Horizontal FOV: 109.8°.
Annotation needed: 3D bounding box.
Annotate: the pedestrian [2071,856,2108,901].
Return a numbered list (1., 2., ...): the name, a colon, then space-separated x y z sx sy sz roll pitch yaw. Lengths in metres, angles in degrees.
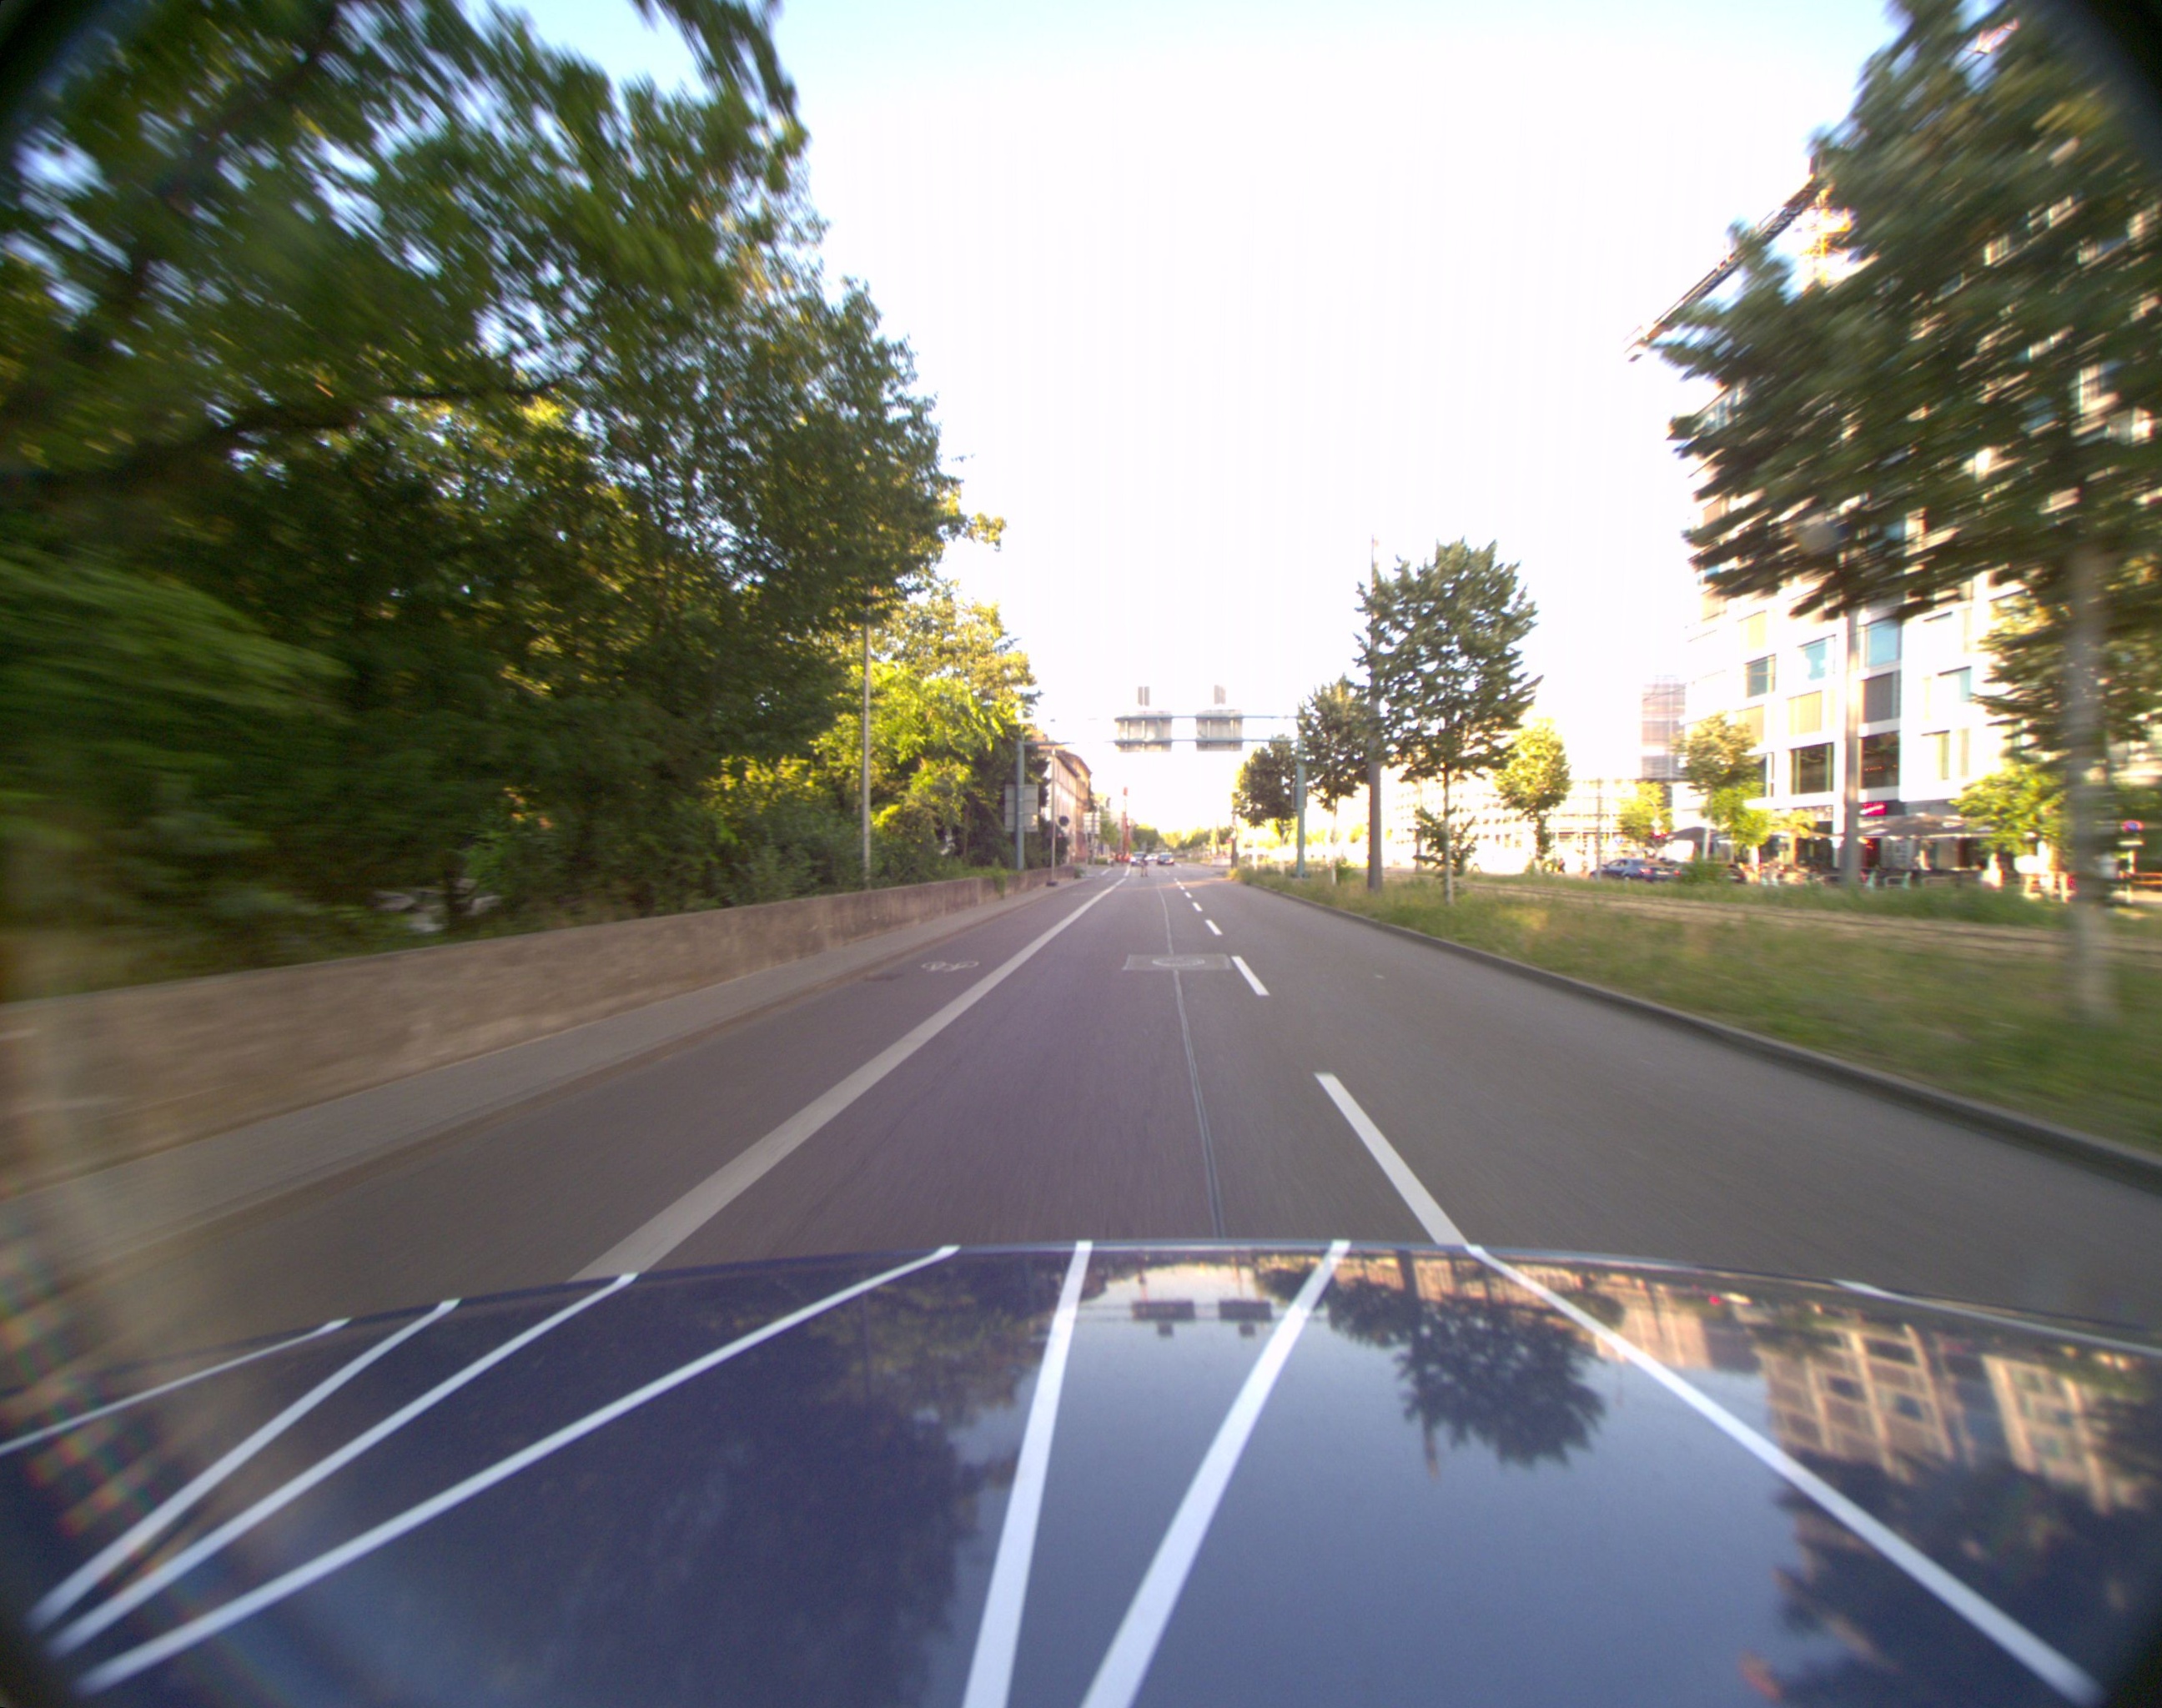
1. pedestrian: 36.052 0.862 27.162 0.498 1.590 0.604 -2 1 7

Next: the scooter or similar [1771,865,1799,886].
1. scooter or similar: 34.799 1.056 37.561 1.008 1.028 0.291 0 2 6

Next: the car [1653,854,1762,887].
1. car: 29.494 0.743 35.954 1.889 1.431 4.225 0 0 5

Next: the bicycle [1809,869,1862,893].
1. bicycle: 34.474 1.245 34.720 1.913 1.053 0.443 -1 1 2

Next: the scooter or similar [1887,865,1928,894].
1. scooter or similar: 34.051 1.045 31.313 1.184 1.157 0.338 1 1 6

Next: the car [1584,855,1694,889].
1. car: 26.557 0.816 36.425 2.019 1.432 4.803 2 0 5

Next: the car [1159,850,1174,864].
1. car: 10.319 0.352 91.615 1.701 1.588 4.262 -1 0 7

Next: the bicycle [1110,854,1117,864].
1. bicycle: 3.805 0.612 89.833 0.528 1.045 2.049 3 2 9

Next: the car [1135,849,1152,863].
1. car: 7.539 0.257 91.778 1.832 1.588 4.262 -1 0 7

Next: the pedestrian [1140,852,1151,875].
1. pedestrian: 4.392 0.644 51.759 0.579 1.495 0.619 -1 0 13

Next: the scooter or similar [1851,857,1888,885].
1. scooter or similar: 34.767 0.734 33.509 1.184 1.210 0.338 0 1 6

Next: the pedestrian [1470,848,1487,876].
1. pedestrian: 26.452 0.550 50.565 0.708 1.825 0.763 -1 1 4

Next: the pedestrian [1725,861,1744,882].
1. pedestrian: 44.241 1.188 51.454 0.606 1.406 0.772 0 1 -10

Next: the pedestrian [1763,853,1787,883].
1. pedestrian: 37.861 0.762 41.455 0.681 1.594 0.708 -2 1 -11

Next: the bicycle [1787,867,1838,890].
1. bicycle: 34.712 1.145 36.064 1.913 1.053 0.443 -1 1 2

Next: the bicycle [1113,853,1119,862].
1. bicycle: 4.260 0.422 92.473 0.517 1.045 2.045 1 1 8

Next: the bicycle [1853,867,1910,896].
1. bicycle: 34.456 1.172 32.730 1.913 1.192 0.443 -1 1 2

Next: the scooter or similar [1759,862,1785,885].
1. scooter or similar: 35.146 0.995 38.636 0.974 1.079 0.338 -2 3 6

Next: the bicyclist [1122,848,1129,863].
1. bicyclist: 5.284 0.197 90.137 0.705 1.691 0.768 -1 2 8

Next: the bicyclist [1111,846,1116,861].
1. bicyclist: 3.851 -0.059 89.894 0.509 1.692 0.768 3 3 9

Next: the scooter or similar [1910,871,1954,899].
1. scooter or similar: 33.846 1.229 30.219 1.184 1.051 0.338 -4 -1 6

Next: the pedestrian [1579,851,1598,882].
1. pedestrian: 31.392 0.766 46.970 0.680 1.913 0.709 -2 1 7

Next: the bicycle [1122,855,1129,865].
1. bicycle: 5.249 0.667 89.755 0.720 1.045 2.044 -2 1 6
